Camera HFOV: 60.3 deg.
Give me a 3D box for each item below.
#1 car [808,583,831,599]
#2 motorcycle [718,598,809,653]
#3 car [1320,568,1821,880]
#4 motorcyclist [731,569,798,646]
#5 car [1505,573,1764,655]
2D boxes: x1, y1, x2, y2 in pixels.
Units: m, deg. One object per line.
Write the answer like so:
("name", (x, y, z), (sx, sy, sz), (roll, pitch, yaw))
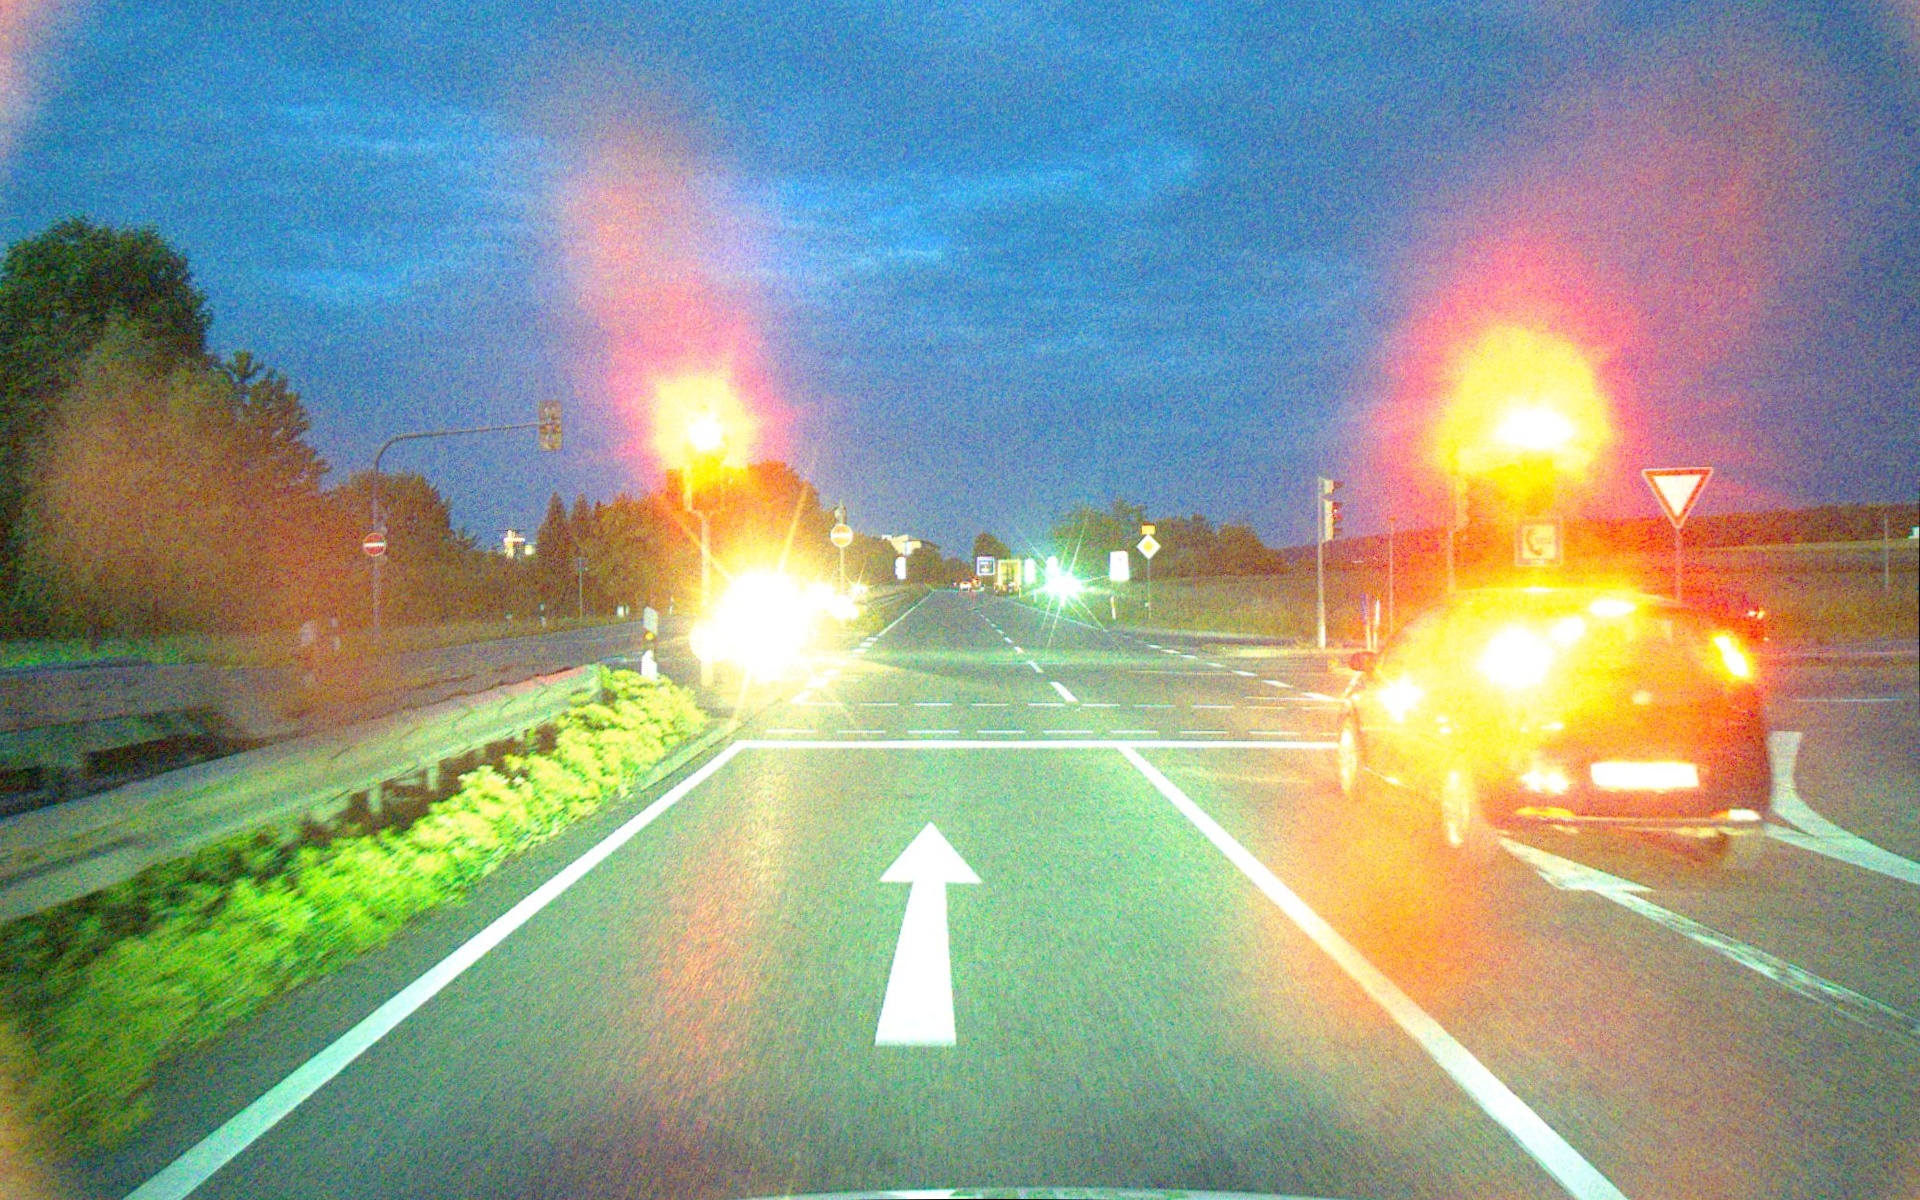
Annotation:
("car", (-14.176, -0.948, 166.974), (1.953, 1.545, 4.297), (-1, 1, -1))
("motorcycle", (-4.249, 0.528, 35.545), (0.970, 1.118, 2.480), (-2, 1, -32))
("car", (3.508, 0.600, 10.346), (1.636, 1.547, 4.106), (1, 1, 0))
("motorcyclist", (-4.196, 0.153, 35.475), (1.126, 1.612, 0.962), (-1, 1, -32))
("car", (13.828, 0.265, 34.106), (4.507, 1.547, 2.000), (-1, 1, 0))
